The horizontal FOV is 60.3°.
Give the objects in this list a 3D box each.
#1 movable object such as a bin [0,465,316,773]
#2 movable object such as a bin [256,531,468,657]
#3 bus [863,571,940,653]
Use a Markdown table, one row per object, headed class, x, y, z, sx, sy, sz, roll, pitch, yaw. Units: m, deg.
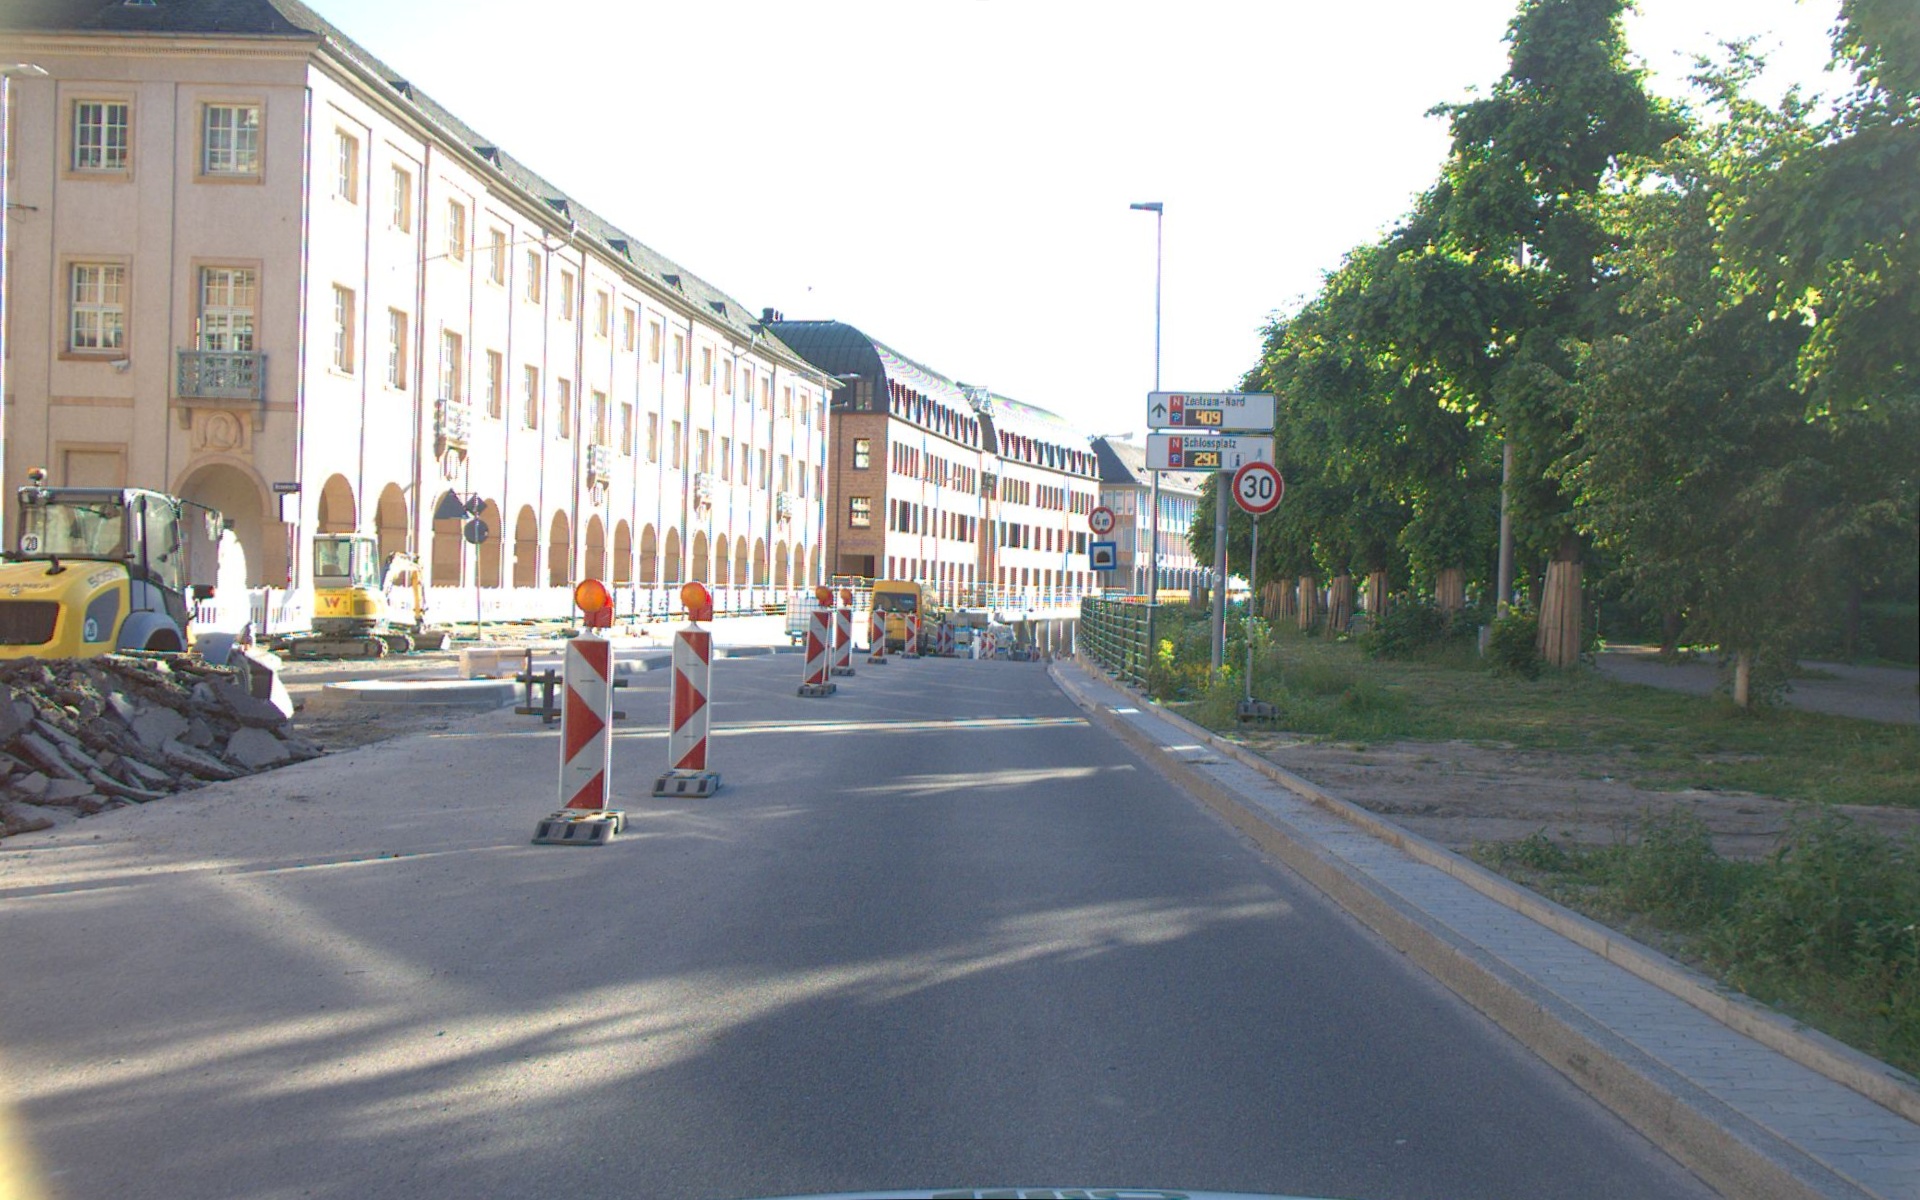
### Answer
| class | x | y | z | sx | sy | sz | roll | pitch | yaw |
| --- | --- | --- | --- | --- | --- | --- | --- | --- | --- |
| movable object such as a bin | -8.207 | 0.081 | 15.904 | 2.031 | 2.518 | 4.619 | 2 | 1 | 2 |
| movable object such as a bin | -12.283 | -0.134 | 34.362 | 2.492 | 2.390 | 4.462 | 1 | 0 | 4 |
| bus | -2.024 | 0.488 | 58.890 | 2.029 | 2.733 | 4.686 | 2 | -2 | 6 |
